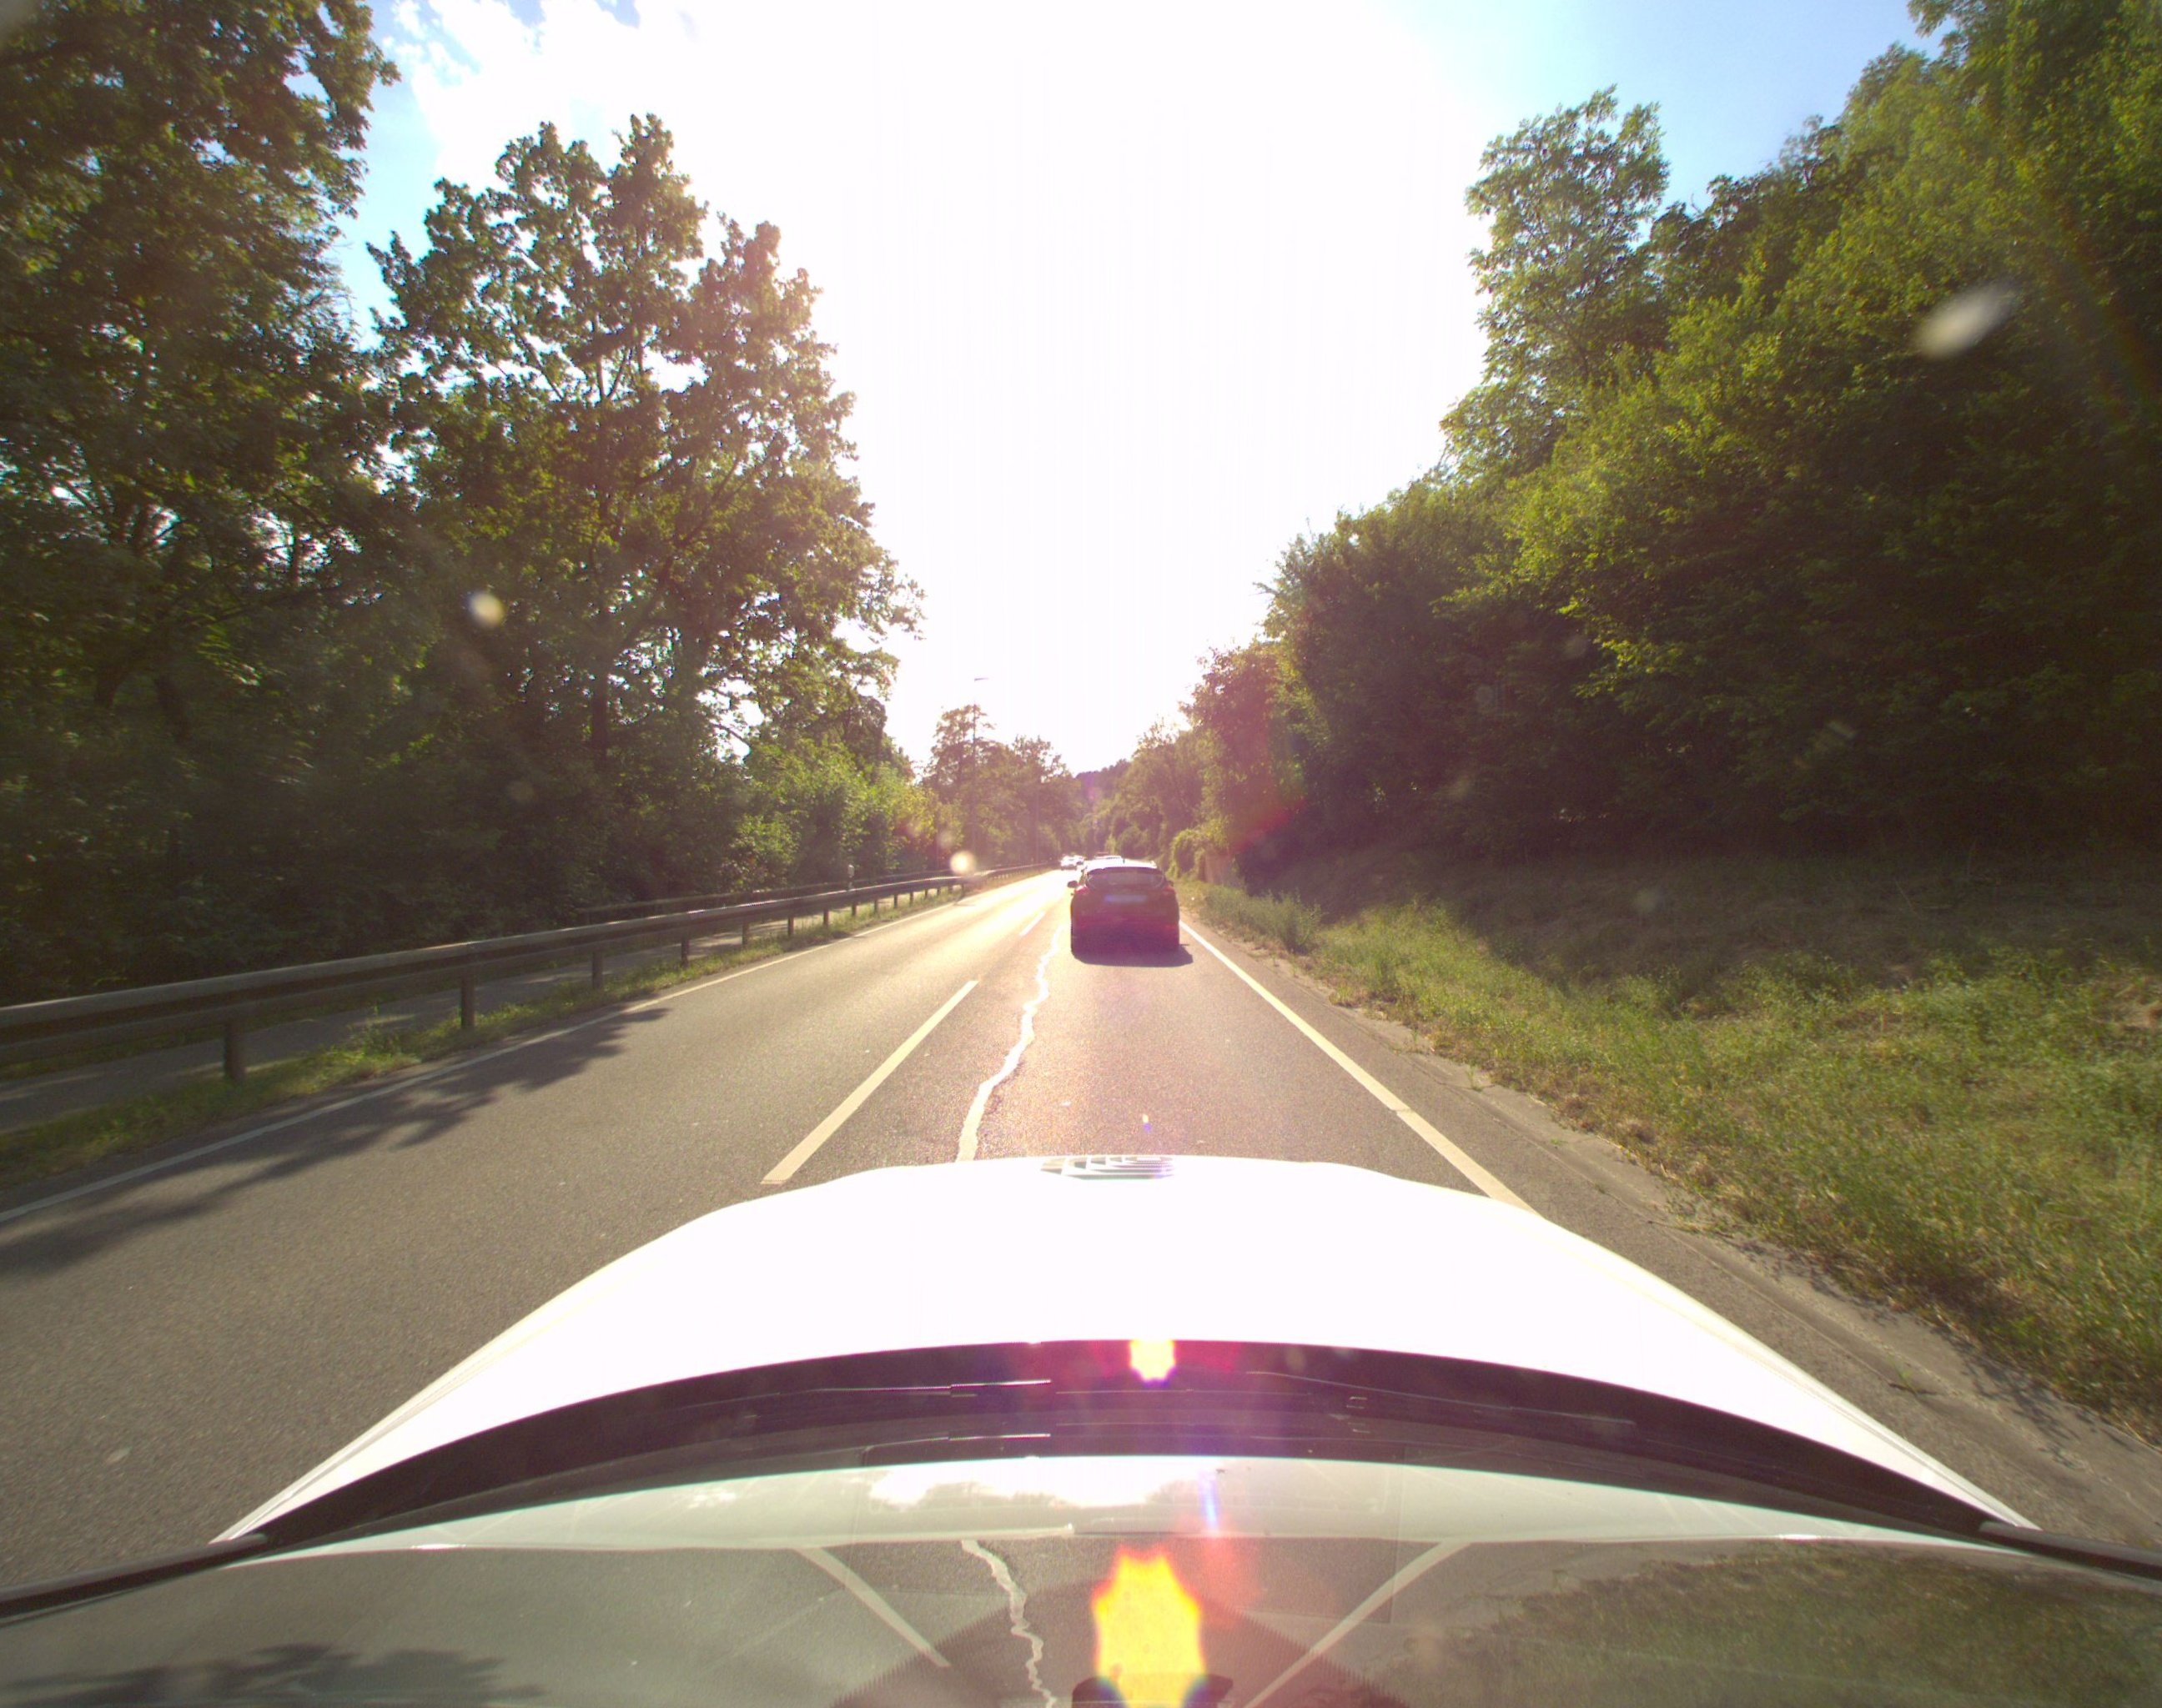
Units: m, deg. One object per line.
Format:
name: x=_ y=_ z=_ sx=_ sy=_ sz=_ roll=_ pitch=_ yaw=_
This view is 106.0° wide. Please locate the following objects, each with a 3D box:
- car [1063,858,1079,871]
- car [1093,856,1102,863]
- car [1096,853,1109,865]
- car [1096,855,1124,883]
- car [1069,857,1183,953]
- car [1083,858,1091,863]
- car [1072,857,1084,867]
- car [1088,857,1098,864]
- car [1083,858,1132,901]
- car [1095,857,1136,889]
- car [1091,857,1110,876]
car: x=-1.082 y=1.118 z=89.051 sx=1.617 sy=1.377 sz=4.048 roll=-1 pitch=0 yaw=1
car: x=3.507 y=1.152 z=172.897 sx=1.812 sy=1.519 sz=4.002 roll=-1 pitch=0 yaw=2
car: x=3.280 y=0.731 z=123.638 sx=1.857 sy=1.780 sz=3.999 roll=-1 pitch=0 yaw=-1
car: x=1.736 y=0.884 z=49.322 sx=1.624 sy=1.596 sz=4.002 roll=-1 pitch=0 yaw=2
car: x=0.757 y=0.796 z=14.462 sx=1.733 sy=1.456 sz=4.001 roll=0 pitch=-1 yaw=2
car: x=1.683 y=1.776 z=228.241 sx=1.991 sy=1.519 sz=3.992 roll=-1 pitch=0 yaw=-6
car: x=-0.465 y=1.243 z=129.179 sx=1.675 sy=1.463 sz=4.198 roll=-1 pitch=0 yaw=1
car: x=3.047 y=1.597 z=199.662 sx=1.991 sy=1.519 sz=3.992 roll=-1 pitch=0 yaw=-6
car: x=1.011 y=0.890 z=29.694 sx=1.654 sy=1.418 sz=4.003 roll=-1 pitch=0 yaw=3
car: x=1.621 y=0.875 z=38.294 sx=1.798 sy=1.391 sz=4.002 roll=-1 pitch=0 yaw=2
car: x=1.689 y=1.035 z=69.939 sx=1.624 sy=1.596 sz=4.002 roll=-1 pitch=0 yaw=2
